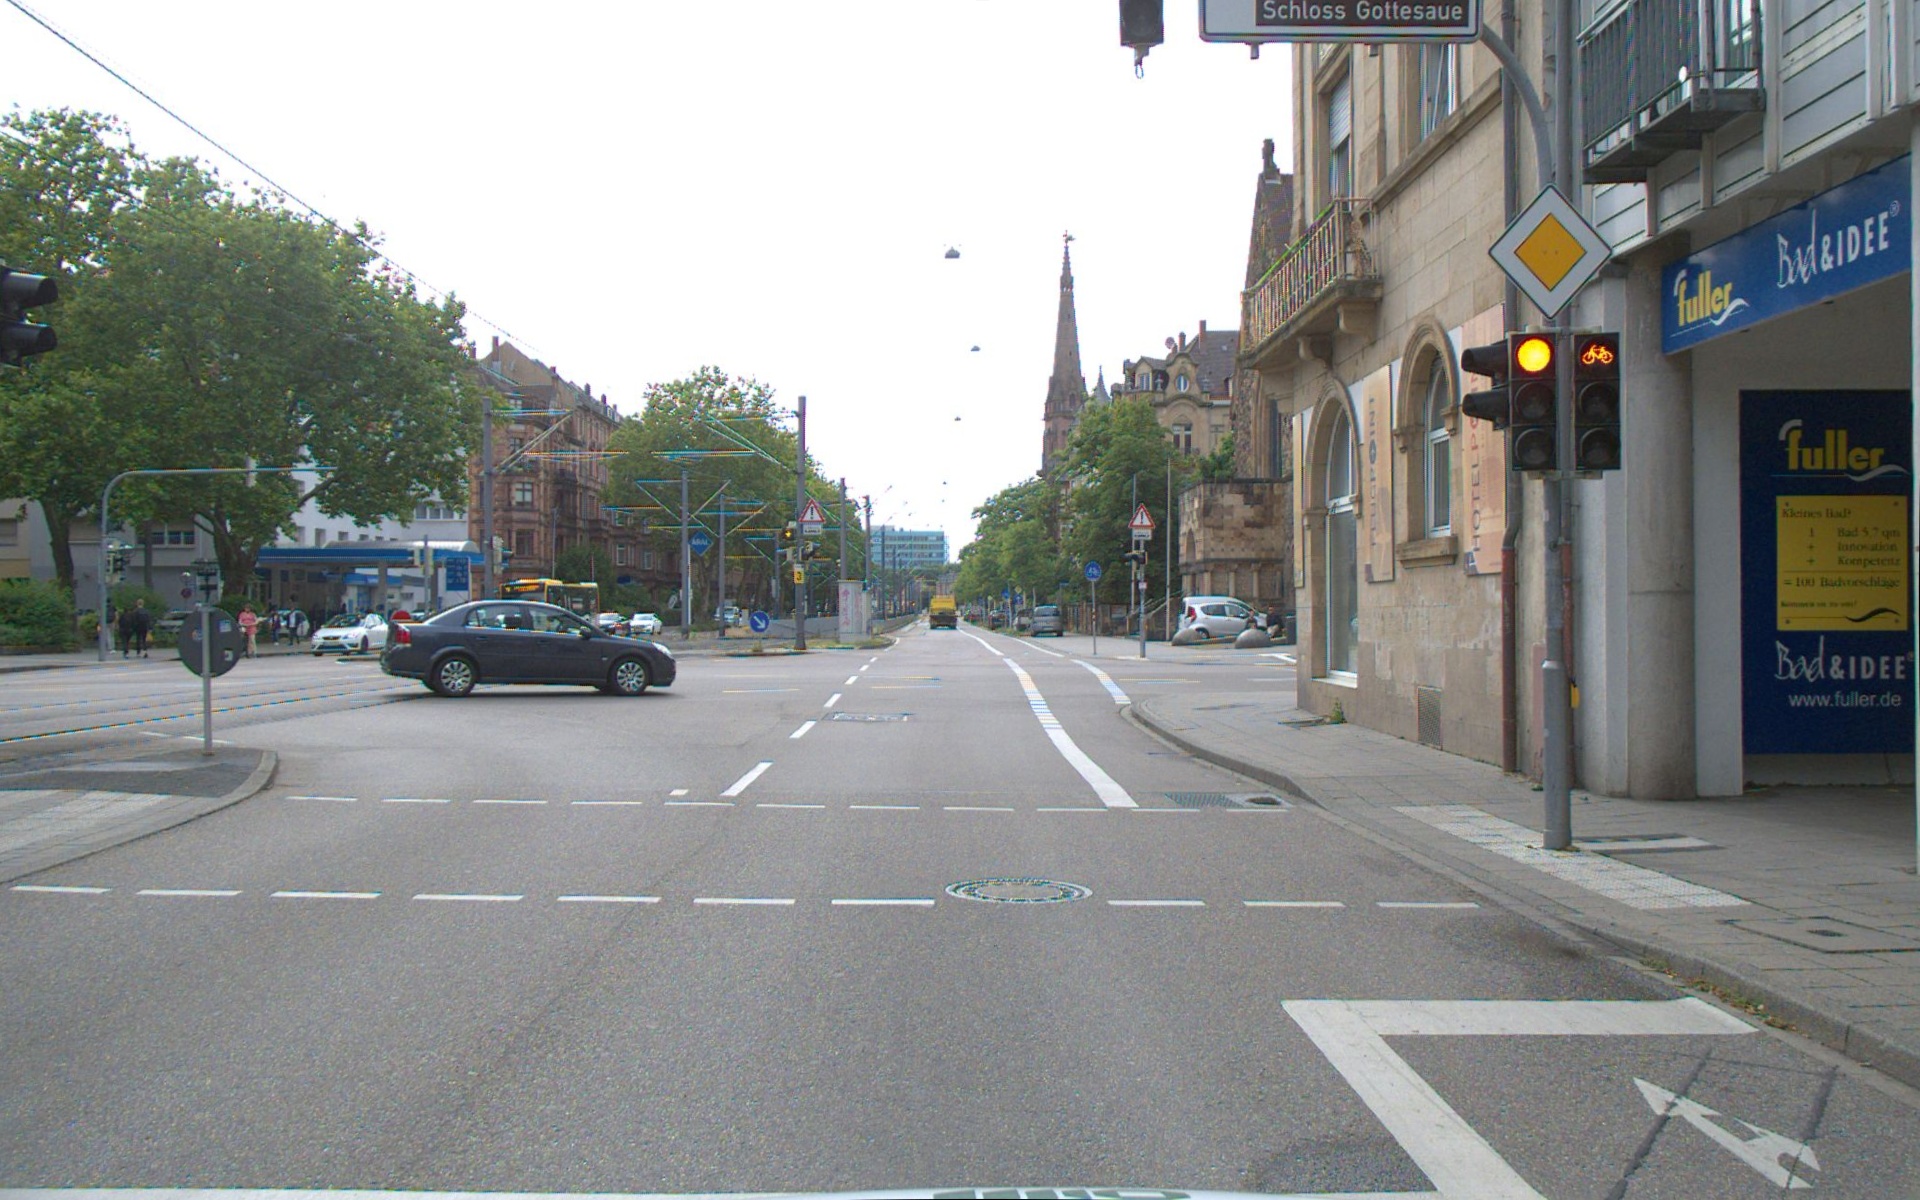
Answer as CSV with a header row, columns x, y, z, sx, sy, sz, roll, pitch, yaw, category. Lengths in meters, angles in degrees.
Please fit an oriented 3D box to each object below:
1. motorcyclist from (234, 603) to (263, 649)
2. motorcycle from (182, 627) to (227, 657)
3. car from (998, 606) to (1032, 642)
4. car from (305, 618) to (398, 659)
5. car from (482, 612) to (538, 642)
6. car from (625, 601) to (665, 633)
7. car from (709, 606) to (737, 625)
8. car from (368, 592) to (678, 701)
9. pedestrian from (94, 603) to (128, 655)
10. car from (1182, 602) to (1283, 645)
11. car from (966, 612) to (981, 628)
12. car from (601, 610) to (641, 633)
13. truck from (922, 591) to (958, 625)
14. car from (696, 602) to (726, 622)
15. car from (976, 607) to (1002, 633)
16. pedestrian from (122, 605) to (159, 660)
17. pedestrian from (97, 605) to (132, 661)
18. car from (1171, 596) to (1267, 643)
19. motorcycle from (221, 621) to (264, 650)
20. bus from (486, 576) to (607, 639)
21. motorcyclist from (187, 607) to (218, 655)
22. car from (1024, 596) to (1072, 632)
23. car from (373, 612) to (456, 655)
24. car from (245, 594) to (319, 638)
x,y,z,sx,sy,sz,roll,pitch,yaw,category
-23.661,0.858,55.000,0.607,1.546,0.873,0,0,-1,motorcyclist
-24.681,1.370,54.070,0.594,0.945,1.951,0,0,0,motorcycle
3.285,1.422,99.611,1.952,2.049,4.000,1,0,1,car
-21.517,1.331,58.599,1.711,1.344,4.075,1,0,1,car
-21.382,1.286,78.693,1.622,1.344,3.638,1,0,1,car
-21.466,1.149,112.800,1.953,2.049,3.999,1,0,-1,car
-21.342,1.384,148.984,1.953,1.639,3.999,1,0,-1,car
-6.882,0.693,26.059,4.464,1.591,1.984,0,0,-25,car
-28.487,0.967,55.505,0.669,1.720,0.742,1,-1,4,pedestrian
10.673,0.927,65.030,3.638,1.591,2.000,1,0,-1,car
1.762,2.665,216.817,1.953,2.049,3.999,1,0,-1,car
-20.842,1.307,101.853,1.622,1.344,3.638,1,0,1,car
-1.697,0.675,144.450,2.992,2.817,9.815,0,0,0,truck
-21.226,1.026,141.145,1.953,1.639,3.999,1,0,-1,car
2.374,1.630,135.994,1.953,2.049,3.999,1,0,-1,car
-26.169,1.020,52.822,0.868,1.743,0.860,0,-1,-42,pedestrian
-26.706,1.027,52.221,0.853,1.743,0.688,-1,-1,37,pedestrian
10.689,0.796,68.550,3.638,1.888,2.000,1,0,-1,car
-23.692,1.169,54.665,0.594,0.945,1.951,0,0,0,motorcycle
-21.969,0.419,88.747,3.164,3.088,12.312,1,0,1,bus
-24.679,0.994,53.900,0.607,1.546,0.873,0,0,-1,motorcyclist
4.813,0.773,90.040,1.951,1.888,4.030,1,0,12,car
-21.425,1.288,65.121,1.953,1.622,3.999,1,0,-1,car
-32.914,0.748,80.449,1.953,2.049,3.999,1,0,-1,car
